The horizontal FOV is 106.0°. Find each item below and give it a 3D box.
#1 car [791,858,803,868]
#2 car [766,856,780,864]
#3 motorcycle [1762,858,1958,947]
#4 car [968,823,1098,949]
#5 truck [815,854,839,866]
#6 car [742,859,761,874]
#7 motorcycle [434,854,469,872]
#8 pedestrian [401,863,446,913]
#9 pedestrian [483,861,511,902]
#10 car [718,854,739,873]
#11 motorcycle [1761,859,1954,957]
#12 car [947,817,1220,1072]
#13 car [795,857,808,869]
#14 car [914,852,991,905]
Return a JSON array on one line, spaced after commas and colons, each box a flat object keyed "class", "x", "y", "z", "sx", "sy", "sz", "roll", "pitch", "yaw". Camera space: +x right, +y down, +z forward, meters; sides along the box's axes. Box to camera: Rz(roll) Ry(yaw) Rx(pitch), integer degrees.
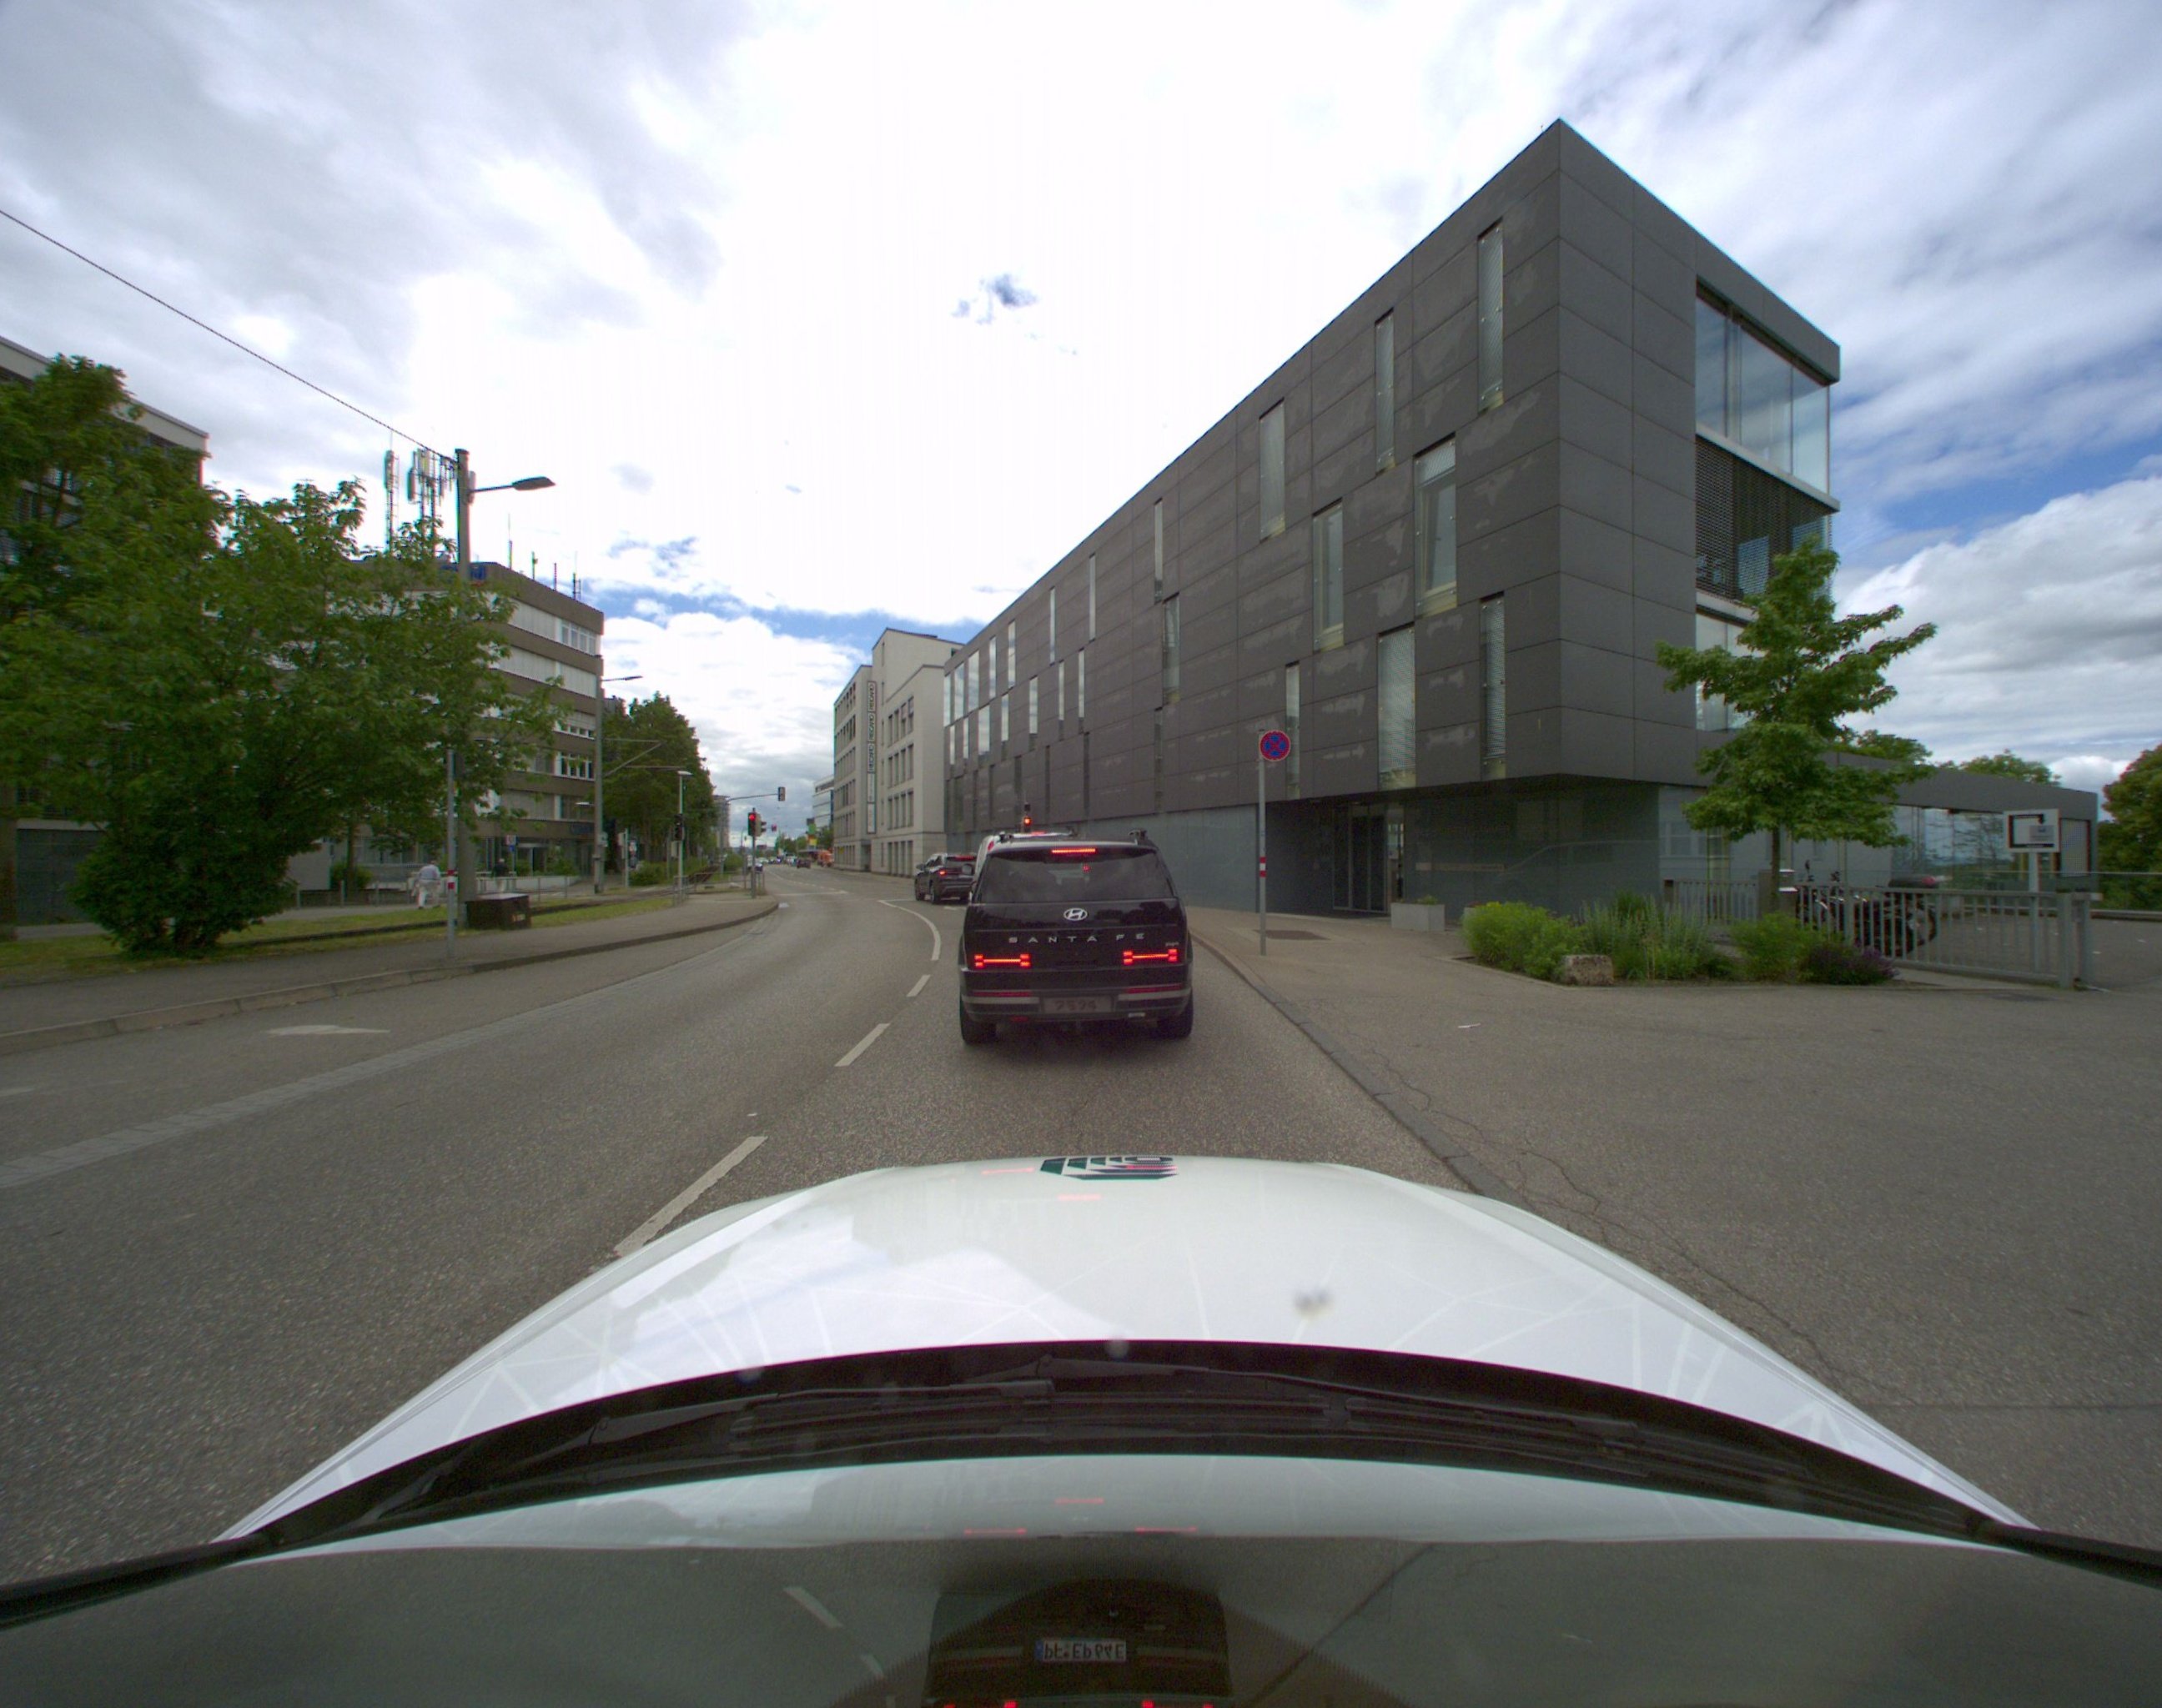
[{"class": "car", "x": -47.944, "y": 1.488, "z": 137.563, "sx": 1.765, "sy": 1.609, "sz": 4.159, "roll": 0, "pitch": 0, "yaw": -20}, {"class": "car", "x": -67.782, "y": 1.362, "z": 179.183, "sx": 2.009, "sy": 1.852, "sz": 3.956, "roll": 0, "pitch": 0, "yaw": -35}, {"class": "motorcycle", "x": 13.416, "y": 0.770, "z": 14.165, "sx": 0.669, "sy": 1.393, "sz": 2.449, "roll": 0, "pitch": 0, "yaw": -17}, {"class": "car", "x": -1.072, "y": 0.504, "z": 15.308, "sx": 1.932, "sy": 1.994, "sz": 4.519, "roll": 0, "pitch": 0, "yaw": -10}, {"class": "truck", "x": -42.731, "y": 1.049, "z": 137.033, "sx": 2.009, "sy": 2.013, "sz": 6.333, "roll": 0, "pitch": 0, "yaw": -36}, {"class": "car", "x": -34.639, "y": 1.290, "z": 85.656, "sx": 1.774, "sy": 1.479, "sz": 3.972, "roll": -2, "pitch": 0, "yaw": -21}, {"class": "motorcycle", "x": -41.389, "y": 0.595, "z": 53.553, "sx": 1.873, "sy": 1.199, "sz": 0.568, "roll": -1, "pitch": 0, "yaw": -1}, {"class": "pedestrian", "x": -20.831, "y": 1.049, "z": 25.813, "sx": 0.852, "sy": 1.526, "sz": 0.987, "roll": -2, "pitch": 0, "yaw": -25}, {"class": "pedestrian", "x": -25.187, "y": 1.188, "z": 35.124, "sx": 0.685, "sy": 1.705, "sz": 0.683, "roll": -2, "pitch": 0, "yaw": 0}, {"class": "car", "x": -35.409, "y": 0.973, "z": 81.919, "sx": 1.687, "sy": 1.808, "sz": 4.322, "roll": -2, "pitch": 0, "yaw": -20}, {"class": "motorcycle", "x": 11.982, "y": 0.775, "z": 12.678, "sx": 0.669, "sy": 1.393, "sz": 2.112, "roll": 0, "pitch": 0, "yaw": -17}, {"class": "car", "x": -0.128, "y": 0.635, "z": 7.961, "sx": 1.905, "sy": 1.749, "sz": 4.390, "roll": -1, "pitch": 0, "yaw": -4}, {"class": "car", "x": -41.510, "y": 1.316, "z": 120.837, "sx": 1.765, "sy": 1.609, "sz": 4.159, "roll": 0, "pitch": 0, "yaw": -20}, {"class": "car", "x": -4.354, "y": 0.747, "z": 27.126, "sx": 1.765, "sy": 1.609, "sz": 4.159, "roll": 0, "pitch": 0, "yaw": -20}]
